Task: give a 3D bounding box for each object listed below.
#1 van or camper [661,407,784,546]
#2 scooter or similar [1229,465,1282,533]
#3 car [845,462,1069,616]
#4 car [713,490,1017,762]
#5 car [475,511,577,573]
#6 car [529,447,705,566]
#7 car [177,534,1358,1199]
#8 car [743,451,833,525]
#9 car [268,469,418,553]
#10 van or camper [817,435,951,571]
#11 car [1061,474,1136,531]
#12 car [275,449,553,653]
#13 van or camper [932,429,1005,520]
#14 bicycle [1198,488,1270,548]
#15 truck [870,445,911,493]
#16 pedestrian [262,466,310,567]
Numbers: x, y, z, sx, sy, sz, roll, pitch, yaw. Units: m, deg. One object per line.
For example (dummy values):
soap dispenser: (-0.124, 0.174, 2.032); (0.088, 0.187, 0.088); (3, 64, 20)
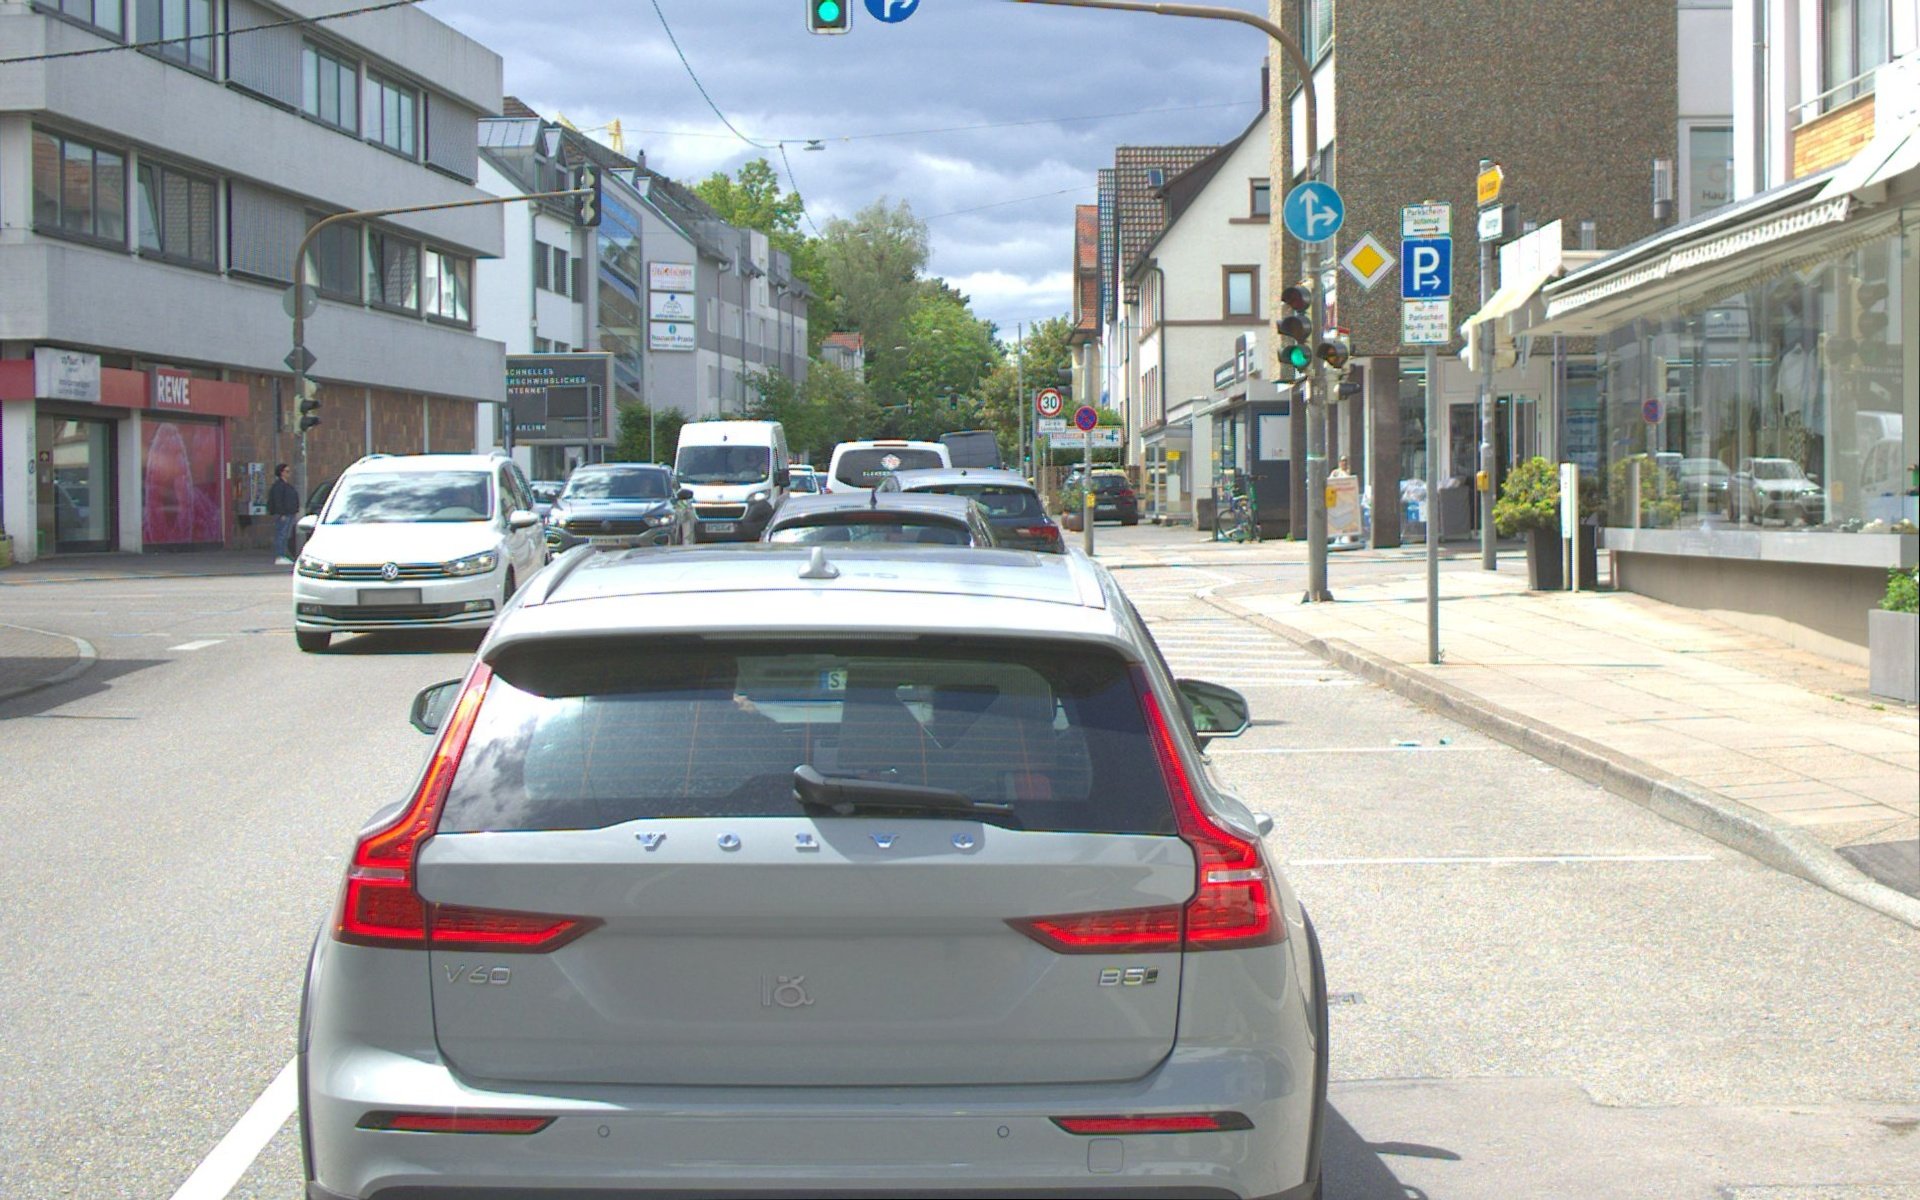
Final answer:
van or camper: (-4.562, -2.437, 66.781); (2.148, 2.547, 5.439); (-1, 3, -2)
scooter or similar: (5.563, -1.894, 64.732); (0.340, 1.249, 1.246); (-3, 2, -26)
car: (-0.088, -0.560, 31.902); (1.807, 1.342, 3.719); (0, 1, -4)
car: (-0.535, 0.093, 20.602); (1.650, 1.477, 3.608); (0, 2, -1)
car: (-10.175, -1.356, 80.836); (1.755, 1.421, 3.862); (0, 1, 2)
car: (-4.501, -1.221, 45.603); (1.791, 1.506, 3.845); (0, 1, 2)
car: (-0.319, 0.606, 7.359); (1.836, 1.481, 4.000); (0, 1, -1)
car: (-3.998, -2.636, 80.633); (1.780, 1.634, 4.221); (-2, 2, 1)
car: (-11.351, -1.652, 63.457); (1.785, 1.459, 4.086); (1, 2, 4)
van or camper: (-1.055, -1.340, 48.934); (1.819, 1.828, 4.000); (0, 0, -1)
car: (3.728, -2.614, 92.841); (1.710, 1.459, 4.000); (0, 1, -2)
car: (-4.717, -0.487, 30.226); (1.775, 1.607, 4.120); (-2, 3, 0)
van or camper: (0.276, -3.814, 104.661); (2.123, 2.677, 4.781); (-1, 2, 1)
bicycle: (5.398, -1.630, 67.882); (0.554, 1.140, 2.301); (-2, 2, -18)
truck: (-4.285, -8.116, 212.329); (2.276, 2.876, 7.080); (-1, 2, 1)
pedestrian: (-11.104, -1.381, 56.620); (0.619, 1.635, 0.660); (-1, 2, 1)
